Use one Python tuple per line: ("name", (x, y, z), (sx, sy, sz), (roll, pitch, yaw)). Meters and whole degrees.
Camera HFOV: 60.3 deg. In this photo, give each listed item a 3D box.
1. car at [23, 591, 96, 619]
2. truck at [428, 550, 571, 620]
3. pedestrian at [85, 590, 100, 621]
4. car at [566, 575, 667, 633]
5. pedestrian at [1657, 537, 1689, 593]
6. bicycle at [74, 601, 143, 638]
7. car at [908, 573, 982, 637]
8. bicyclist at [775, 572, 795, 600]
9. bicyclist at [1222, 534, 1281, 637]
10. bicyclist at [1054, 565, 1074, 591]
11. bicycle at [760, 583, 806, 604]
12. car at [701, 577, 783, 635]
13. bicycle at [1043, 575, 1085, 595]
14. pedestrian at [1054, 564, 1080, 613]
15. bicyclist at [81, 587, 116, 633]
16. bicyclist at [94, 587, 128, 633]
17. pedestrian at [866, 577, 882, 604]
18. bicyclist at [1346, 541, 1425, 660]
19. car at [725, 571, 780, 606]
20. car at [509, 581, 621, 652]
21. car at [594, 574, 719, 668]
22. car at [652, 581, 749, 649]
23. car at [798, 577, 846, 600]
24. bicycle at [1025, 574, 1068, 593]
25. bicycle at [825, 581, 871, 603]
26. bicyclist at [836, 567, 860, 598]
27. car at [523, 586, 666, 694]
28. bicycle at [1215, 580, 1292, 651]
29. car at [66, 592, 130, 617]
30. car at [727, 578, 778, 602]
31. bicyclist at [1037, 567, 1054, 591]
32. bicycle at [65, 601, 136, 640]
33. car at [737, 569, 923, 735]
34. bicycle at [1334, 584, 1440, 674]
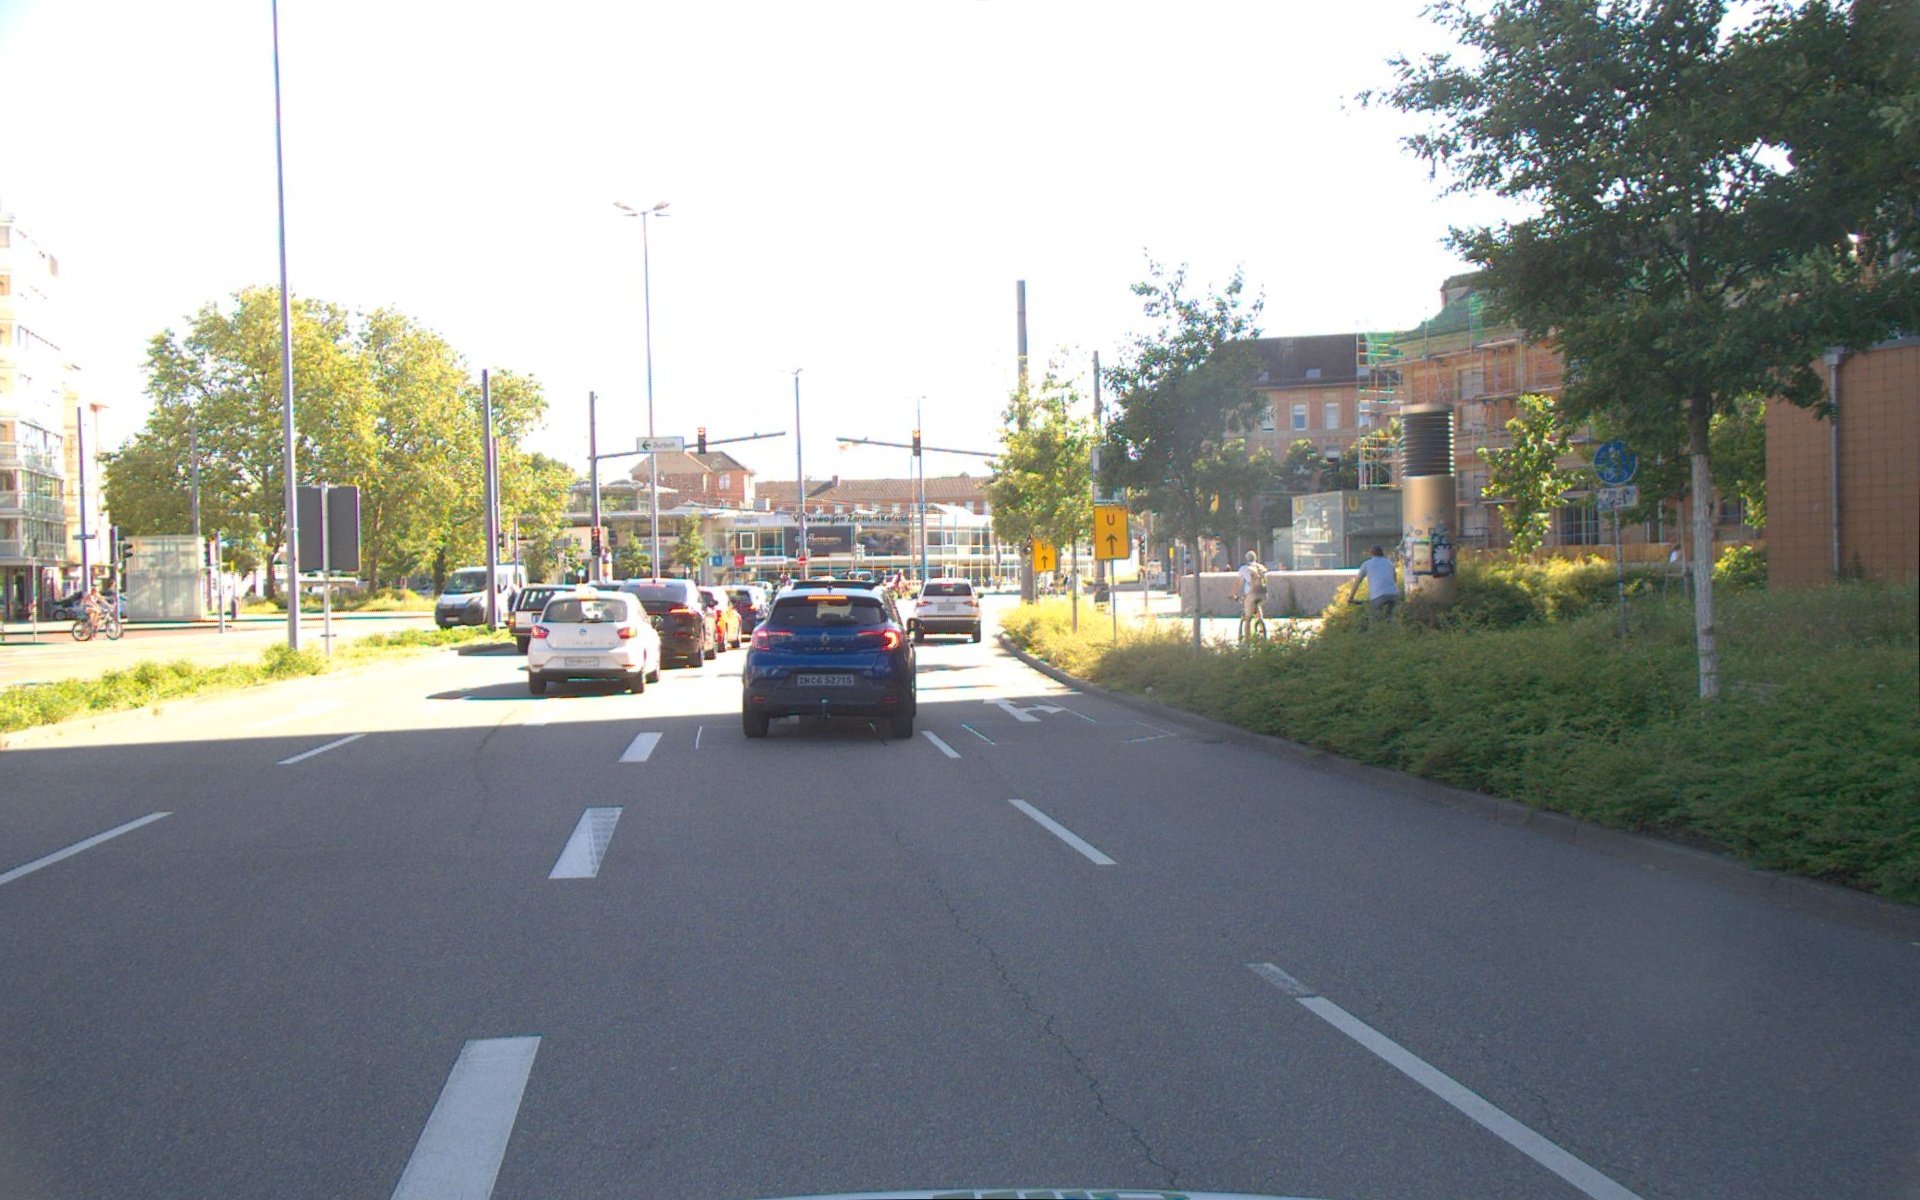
("car", (-51.025, 0.277, 93.748), (3.382, 1.537, 1.683), (-1, 1, -21))
("truck", (-16.463, -0.573, 59.652), (2.167, 2.354, 6.890), (-1, 1, 10))
("pedestrian", (-48.092, 0.303, 91.709), (0.598, 1.638, 0.794), (-2, 3, -23))
("car", (-9.239, 0.068, 44.779), (1.689, 1.467, 3.912), (1, 1, 3))
("pedestrian", (22.971, -1.136, 53.318), (0.530, 1.782, 0.783), (-2, 3, -24))
("bicycle", (-27.969, 0.644, 54.346), (1.912, 1.185, 0.643), (-1, 0, -3))
("car", (-0.356, 0.113, 44.304), (1.838, 1.646, 3.626), (0, 0, 2))
("bicyclist", (-10.617, -0.858, 100.524), (1.046, 1.611, 0.943), (-1, 3, -18))
("bicyclist", (5.200, -0.271, 29.523), (0.706, 1.793, 0.975), (-2, 1, -10))
("bicyclist", (6.848, -1.458, 109.199), (1.046, 1.611, 0.943), (-1, 3, -18))
("bicycle", (-10.748, -0.395, 100.514), (2.606, 1.209, 0.943), (-1, 3, -19))
("car", (-5.848, 0.139, 44.630), (1.690, 1.467, 3.799), (1, 1, 0))
("bicycle", (6.881, -0.995, 109.192), (2.606, 1.209, 0.943), (-1, 3, -19))
("pedestrian", (3.930, -0.410, 60.848), (0.583, 1.753, 0.868), (-2, -2, 31))
("bicyclist", (-27.724, 0.312, 53.223), (0.758, 1.469, 0.643), (-1, 0, -2))
("bicyclist", (-27.898, 0.328, 54.353), (0.758, 1.469, 0.643), (-1, 0, -3))
("pedestrian", (-5.460, -0.591, 105.048), (0.689, 1.638, 0.849), (1, 3, 35))
("bicyclist", (6.037, -0.004, 23.491), (0.707, 1.645, 0.975), (-2, 1, -11))
("car", (-13.284, -0.756, 106.152), (1.952, 2.048, 4.003), (0, 3, 18))
("car", (-8.869, 0.340, 37.415), (1.690, 1.467, 3.798), (-2, 1, -2))
("car", (-5.785, 0.355, 32.001), (1.945, 1.652, 4.373), (-1, 1, -5))
("car", (-5.943, 0.303, 38.198), (1.637, 1.467, 3.722), (1, 1, 0))
("car", (-9.181, -0.780, 110.309), (1.688, 1.467, 4.187), (-1, 1, 17))
("bicycle", (5.502, -1.058, 105.185), (2.592, 1.114, 0.967), (-1, 1, -6))
("bicycle", (-6.785, -0.497, 99.932), (2.614, 1.209, 0.940), (-2, 3, -26))
("bicyclist", (-6.753, -1.061, 99.943), (1.169, 1.807, 0.940), (-2, 3, -26))
("car", (-5.423, 0.539, 24.938), (1.658, 1.461, 3.732), (-1, 1, -6))
("bicycle", (5.218, 0.253, 29.488), (0.732, 1.185, 1.866), (-2, 1, -10))
("car", (-51.467, 0.239, 98.798), (3.216, 1.339, 1.516), (-2, 3, -21))
("car", (-13.385, -0.634, 106.885), (1.688, 1.467, 4.187), (-1, 1, 17))
("bicyclist", (5.442, -1.333, 105.169), (0.943, 1.474, 0.968), (-1, 1, -6))
("bicycle", (-27.663, 0.654, 53.227), (1.912, 1.185, 0.643), (-1, 0, -3))
("car", (-1.363, 0.537, 18.350), (1.839, 1.646, 3.795), (0, -1, -2))
("bicycle", (6.042, 0.384, 23.502), (0.703, 1.185, 1.865), (-2, 1, -11))
